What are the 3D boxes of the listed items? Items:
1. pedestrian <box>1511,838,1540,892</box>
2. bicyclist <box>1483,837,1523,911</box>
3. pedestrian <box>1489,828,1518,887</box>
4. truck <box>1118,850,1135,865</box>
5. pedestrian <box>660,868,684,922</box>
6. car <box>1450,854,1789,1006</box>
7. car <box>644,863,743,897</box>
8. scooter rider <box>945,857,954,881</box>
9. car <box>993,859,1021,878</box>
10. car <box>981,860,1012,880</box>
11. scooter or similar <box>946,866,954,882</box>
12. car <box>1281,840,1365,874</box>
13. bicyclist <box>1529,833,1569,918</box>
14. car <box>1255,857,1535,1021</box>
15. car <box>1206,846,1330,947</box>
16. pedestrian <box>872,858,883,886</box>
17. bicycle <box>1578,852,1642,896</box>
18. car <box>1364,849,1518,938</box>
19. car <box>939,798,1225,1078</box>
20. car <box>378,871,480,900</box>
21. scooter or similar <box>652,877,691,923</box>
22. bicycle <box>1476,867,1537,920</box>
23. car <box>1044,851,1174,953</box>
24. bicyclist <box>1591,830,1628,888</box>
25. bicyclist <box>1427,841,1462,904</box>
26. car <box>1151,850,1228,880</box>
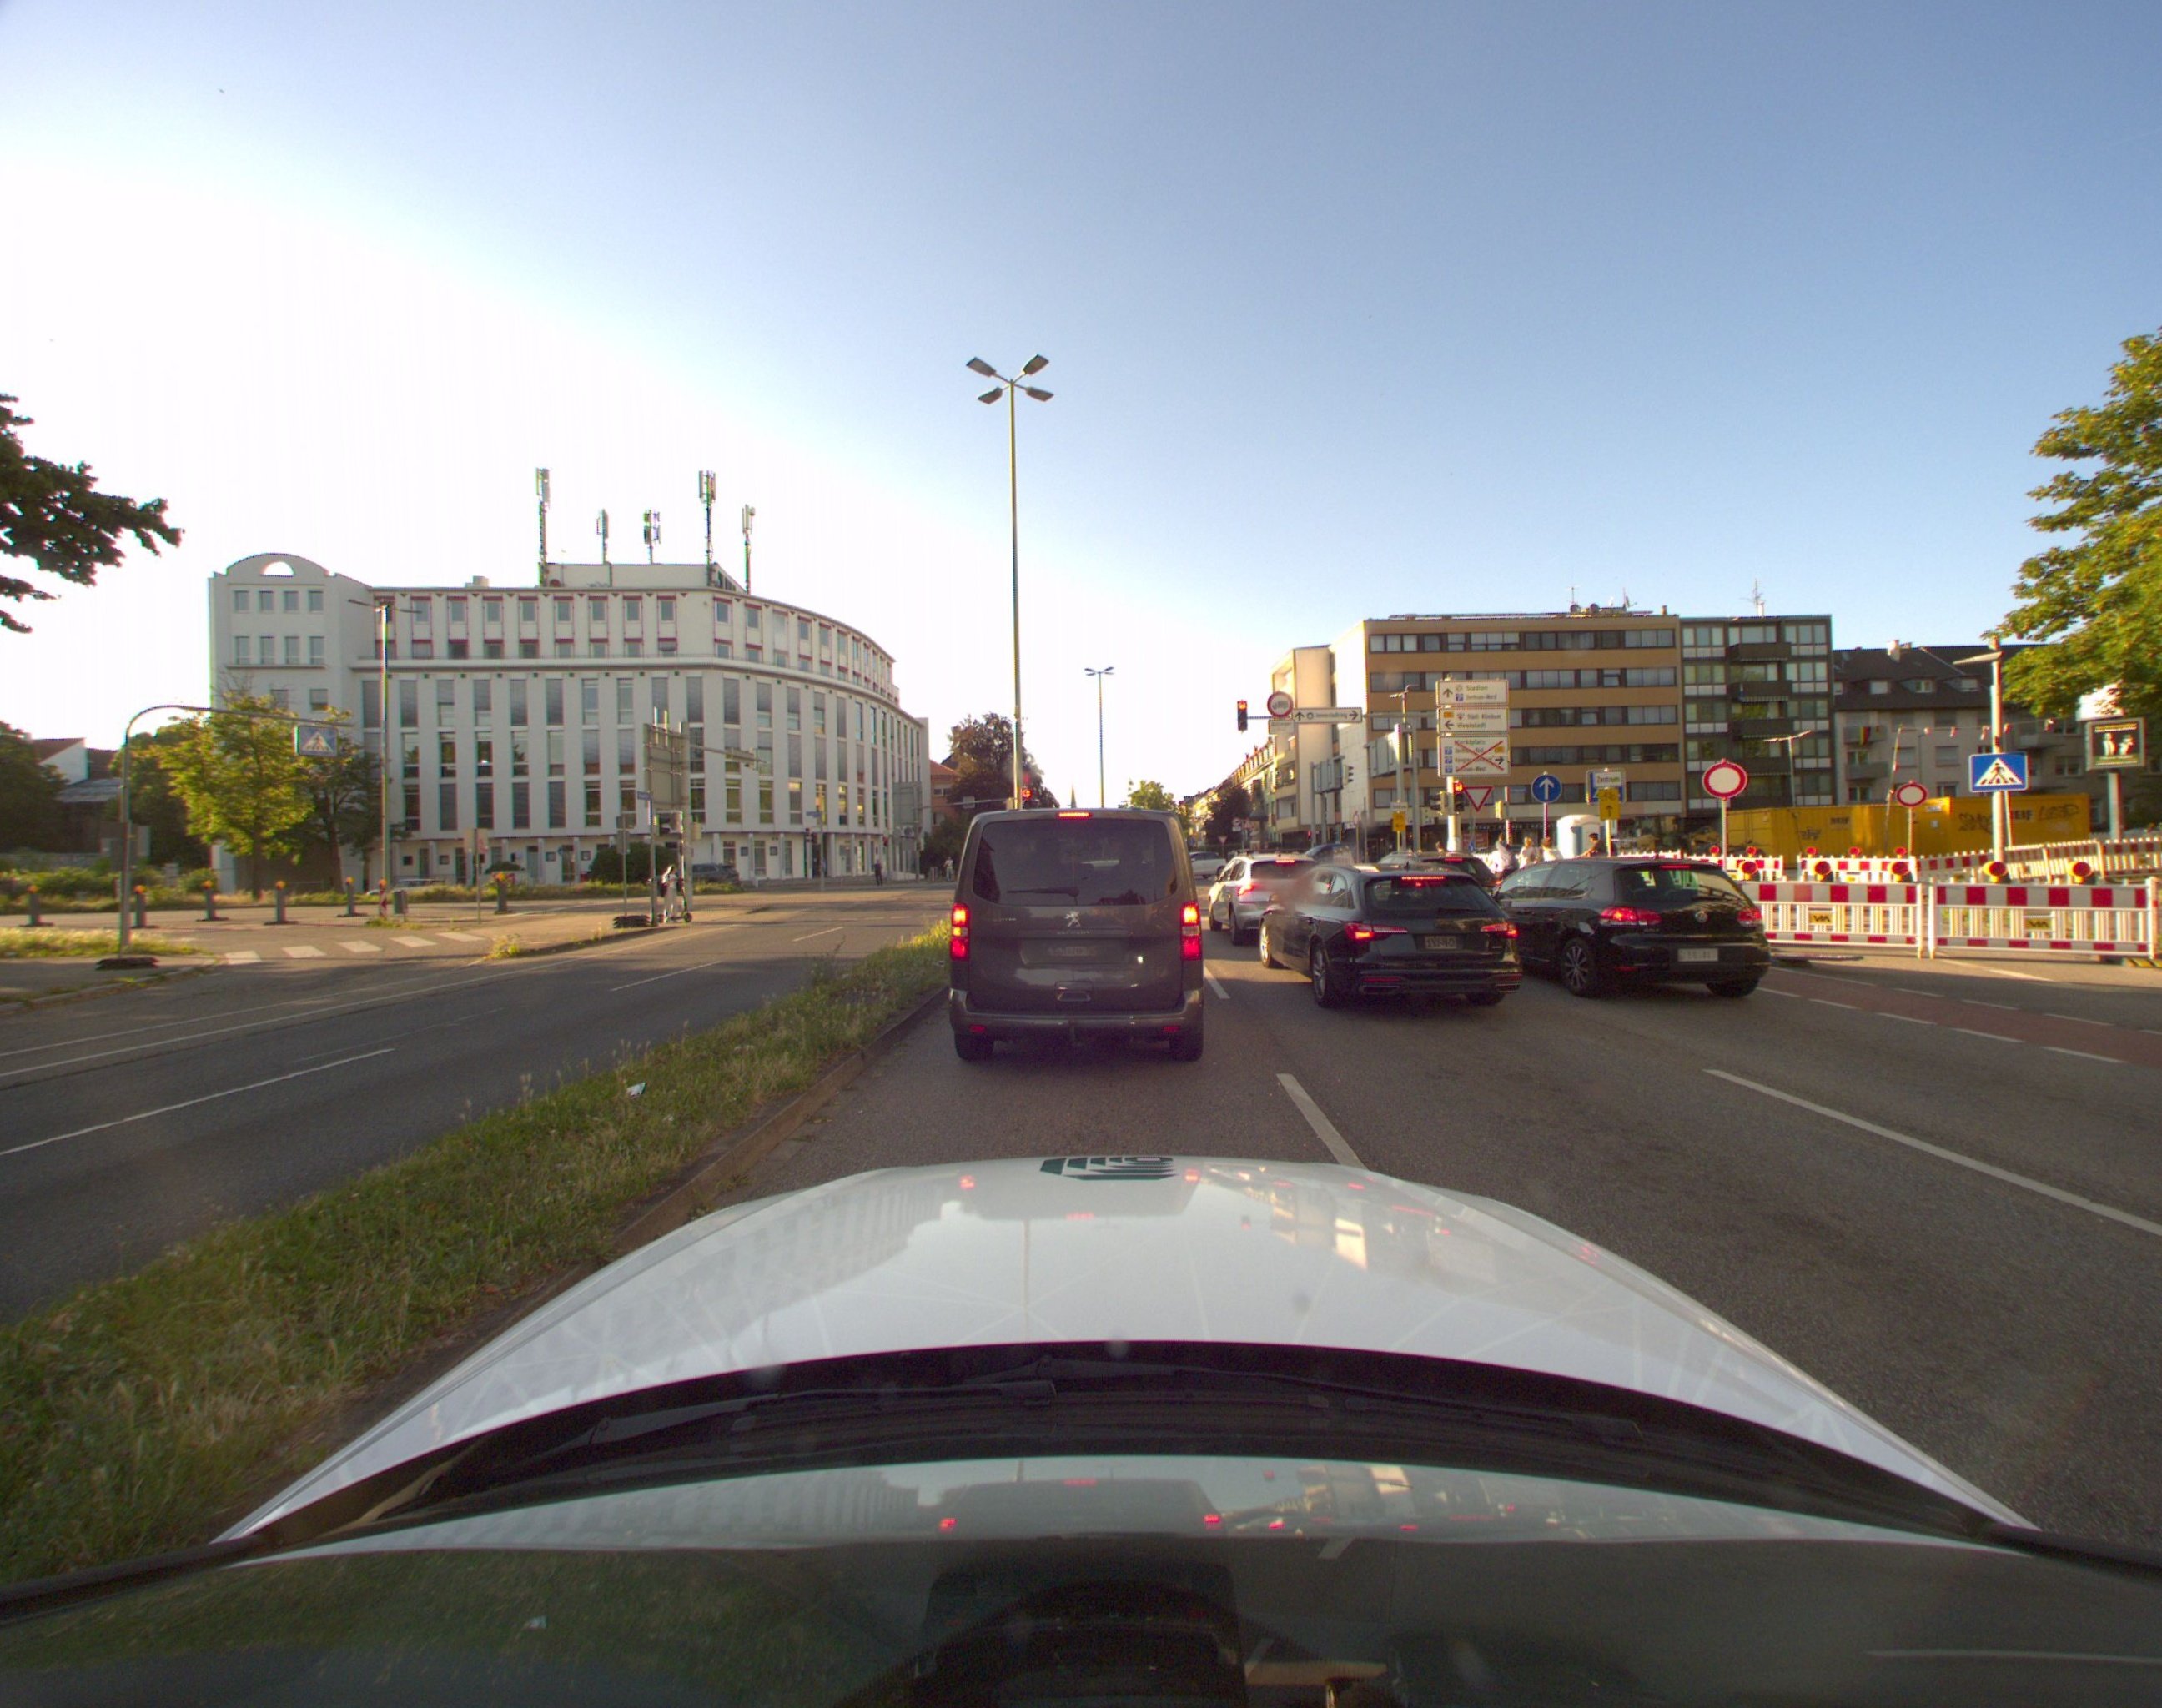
[{"bbox_3d":[14.066,0.337,25.762,0.602,1.671,0.452,-2,0,-12],"label":"pedestrian"},{"bbox_3d":[8.909,0.417,17.202,0.439,1.525,0.725,-2,0,2],"label":"bicyclist"},{"bbox_3d":[13.314,0.100,25.658,0.570,1.834,0.485,-2,0,-13],"label":"pedestrian"},{"bbox_3d":[6.563,0.503,116.500,2.117,2.087,4.640,-2,0,6],"label":"truck"},{"bbox_3d":[-11.535,1.155,22.976,0.474,1.505,0.334,-2,0,-10],"label":"pedestrian"},{"bbox_3d":[5.992,0.726,9.653,1.627,1.449,3.746,0,0,2],"label":"car"},{"bbox_3d":[-20.233,1.342,42.706,4.339,1.549,1.781,-2,0,-10],"label":"car"},{"bbox_3d":[-9.465,1.085,58.792,0.479,1.697,0.636,-2,0,1],"label":"scooter rider"},{"bbox_3d":[-6.174,1.177,68.338,1.850,1.420,4.000,-2,0,0],"label":"car"},{"bbox_3d":[-6.492,1.208,62.815,1.850,1.420,4.000,-2,0,0],"label":"car"},{"bbox_3d":[-9.462,1.438,58.813,0.284,1.189,1.169,-2,0,2],"label":"scooter or similar"},{"bbox_3d":[14.001,0.153,47.169,4.221,1.817,1.991,-2,0,-14],"label":"car"},{"bbox_3d":[8.641,0.393,15.049,0.439,1.525,0.482,-2,0,1],"label":"bicyclist"},{"bbox_3d":[3.197,0.752,9.253,1.675,1.421,4.215,0,0,2],"label":"car"},{"bbox_3d":[3.301,0.687,14.983,1.523,1.613,3.746,0,0,2],"label":"car"},{"bbox_3d":[-12.821,1.132,51.385,0.626,1.722,0.668,-2,0,-12],"label":"pedestrian"},{"bbox_3d":[14.711,0.543,22.665,1.480,1.161,0.376,0,1,40],"label":"bicycle"},{"bbox_3d":[6.629,0.670,15.346,1.499,1.449,3.306,-2,0,2],"label":"car"},{"bbox_3d":[0.075,0.564,7.699,1.900,1.863,4.528,0,0,2],"label":"car"},{"bbox_3d":[-35.748,1.697,44.717,3.979,1.420,1.785,-2,0,-4],"label":"car"},{"bbox_3d":[-11.470,1.292,22.826,0.893,1.234,0.370,-2,0,-10],"label":"scooter or similar"},{"bbox_3d":[8.910,0.801,17.117,0.335,1.008,1.856,-2,0,2],"label":"bicycle"},{"bbox_3d":[0.500,0.753,14.752,1.986,1.530,4.002,-2,0,2],"label":"car"},{"bbox_3d":[14.697,0.136,22.663,0.804,1.589,0.624,0,1,39],"label":"bicyclist"},{"bbox_3d":[8.975,0.450,20.138,0.511,1.525,0.725,-2,0,1],"label":"bicyclist"},{"bbox_3d":[5.819,0.580,43.734,3.690,1.387,1.684,-3,0,-23],"label":"car"}]
